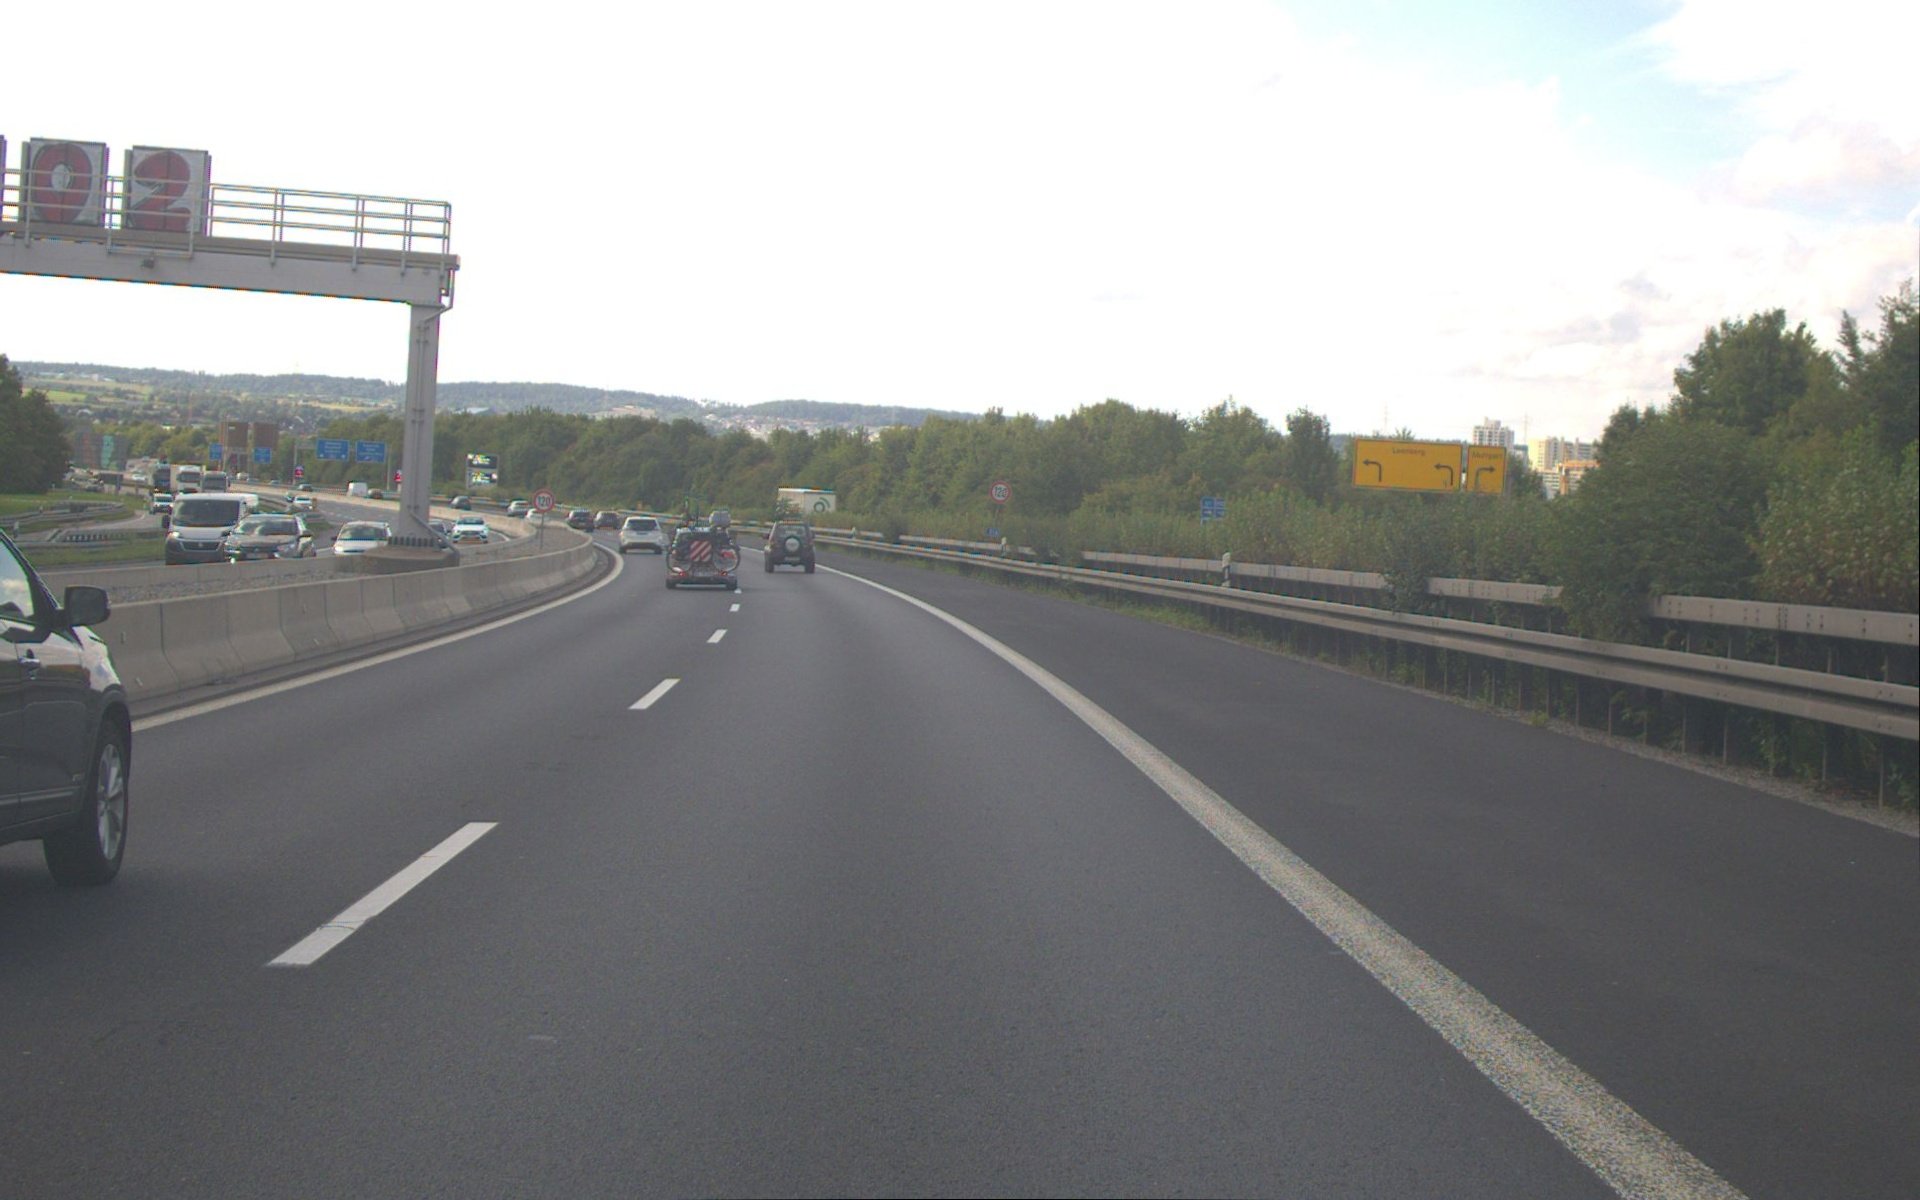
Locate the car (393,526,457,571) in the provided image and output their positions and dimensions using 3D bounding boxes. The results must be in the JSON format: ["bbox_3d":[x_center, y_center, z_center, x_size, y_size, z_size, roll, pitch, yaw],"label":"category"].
[{"bbox_3d":[-20.390,-1.985,131.096,1.993,1.635,4.001,1,1,-3],"label":"car"}]

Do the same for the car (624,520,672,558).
[{"bbox_3d":[-14.538,-2.832,159.838,1.993,1.678,4.001,1,0,-8],"label":"car"}]

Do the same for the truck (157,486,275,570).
[{"bbox_3d":[-20.538,-2.001,95.104,2.183,2.218,5.572,1,1,-2],"label":"truck"}]

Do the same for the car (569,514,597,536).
[{"bbox_3d":[-28.337,-5.645,258.109,1.604,1.552,4.001,1,0,-13],"label":"car"}]

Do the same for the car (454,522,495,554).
[{"bbox_3d":[-25.528,-3.265,180.838,1.764,1.575,4.933,1,1,-4],"label":"car"}]

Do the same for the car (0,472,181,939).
[{"bbox_3d":[-4.471,0.361,13.364,1.817,1.730,5.187,1,1,-2],"label":"car"}]

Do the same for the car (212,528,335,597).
[{"bbox_3d":[-16.146,-0.914,81.114,1.993,1.531,5.286,1,1,-2],"label":"car"}]

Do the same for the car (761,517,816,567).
[{"bbox_3d":[-5.841,-1.986,116.925,1.586,1.591,4.097,1,2,-6],"label":"car"}]

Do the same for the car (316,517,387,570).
[{"bbox_3d":[-17.502,-1.640,99.017,1.565,1.445,3.889,1,1,-3],"label":"car"}]

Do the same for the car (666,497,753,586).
[{"bbox_3d":[-6.353,-1.511,87.515,2.030,2.144,4.001,1,2,-2],"label":"car"}]
